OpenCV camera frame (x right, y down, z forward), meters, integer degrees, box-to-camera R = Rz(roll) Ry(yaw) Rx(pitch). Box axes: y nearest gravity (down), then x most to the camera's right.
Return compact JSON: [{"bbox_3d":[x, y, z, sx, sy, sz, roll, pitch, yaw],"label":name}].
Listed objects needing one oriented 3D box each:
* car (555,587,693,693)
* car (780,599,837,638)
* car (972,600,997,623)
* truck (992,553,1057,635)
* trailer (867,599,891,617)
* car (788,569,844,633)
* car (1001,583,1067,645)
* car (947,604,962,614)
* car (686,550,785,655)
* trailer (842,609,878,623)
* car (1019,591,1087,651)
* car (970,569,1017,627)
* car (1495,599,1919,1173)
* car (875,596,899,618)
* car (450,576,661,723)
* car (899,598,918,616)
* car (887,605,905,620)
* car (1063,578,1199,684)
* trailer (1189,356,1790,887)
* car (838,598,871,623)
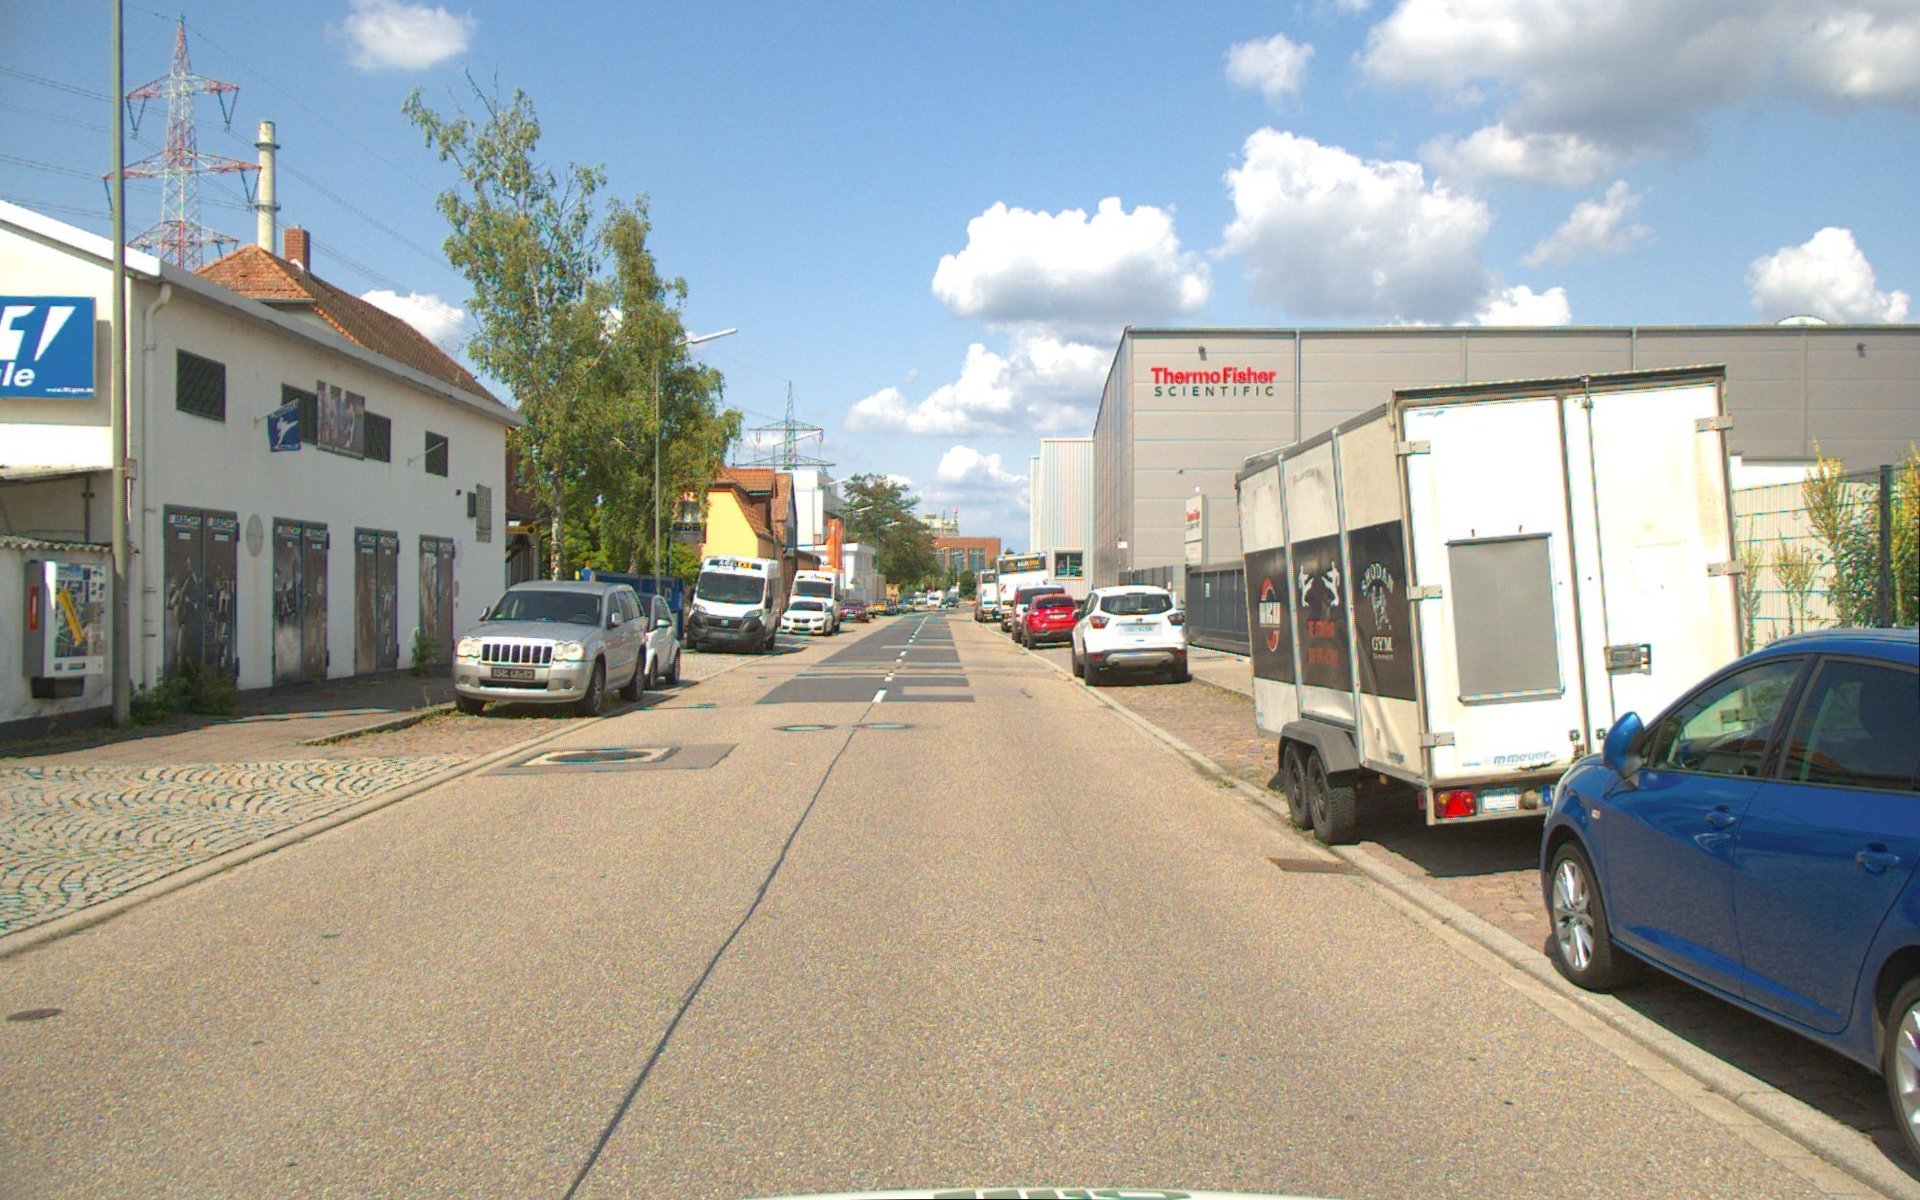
[{"bbox_3d":[-5.633,0.638,28.040,1.576,1.601,3.009,4,0,1],"label":"car"},{"bbox_3d":[-5.973,0.727,65.538,1.759,1.422,4.501,2,-1,1],"label":"car"},{"bbox_3d":[1.743,0.844,118.243,1.732,1.640,3.873,0,-1,0],"label":"car"},{"bbox_3d":[2.842,-0.241,74.649,2.409,3.350,6.817,-4,0,0],"label":"truck"},{"bbox_3d":[-7.042,0.708,144.268,1.953,1.584,4.252,1,0,-1],"label":"trailer"},{"bbox_3d":[-6.284,0.087,72.744,1.986,2.606,6.837,2,-1,-2],"label":"car"},{"bbox_3d":[2.503,0.464,57.129,2.012,1.936,5.147,-3,0,0],"label":"car"},{"bbox_3d":[-0.731,1.208,226.403,1.879,1.307,3.615,0,0,1],"label":"car"},{"bbox_3d":[-6.115,0.087,45.790,1.989,2.602,6.653,2,-1,-2],"label":"car"},{"bbox_3d":[-7.411,1.190,123.138,2.314,0.908,5.568,2,-1,-1],"label":"trailer"},{"bbox_3d":[2.778,0.632,50.150,1.669,1.652,4.091,-3,-1,-2],"label":"car"},{"bbox_3d":[2.082,-0.083,105.550,2.341,3.421,6.640,-3,0,-4],"label":"car"},{"bbox_3d":[3.321,0.757,5.430,1.656,1.486,4.069,-2,-1,-2],"label":"car"},{"bbox_3d":[-7.057,0.709,159.743,1.952,2.049,4.001,2,-1,2],"label":"car"},{"bbox_3d":[-5.476,0.627,23.026,1.754,1.749,4.750,3,0,-1],"label":"car"},{"bbox_3d":[-5.685,0.783,183.227,1.882,1.825,4.001,2,-1,2],"label":"car"},{"bbox_3d":[-6.377,1.241,165.256,1.634,1.473,3.453,2,-1,0],"label":"car"},{"bbox_3d":[3.067,0.532,30.593,1.896,1.723,4.679,-3,0,-1],"label":"car"},{"bbox_3d":[3.311,0.140,12.104,2.160,2.784,6.220,-3,-1,-1],"label":"trailer"},{"bbox_3d":[-6.654,0.664,104.575,1.726,1.473,4.740,2,-1,0],"label":"car"}]
